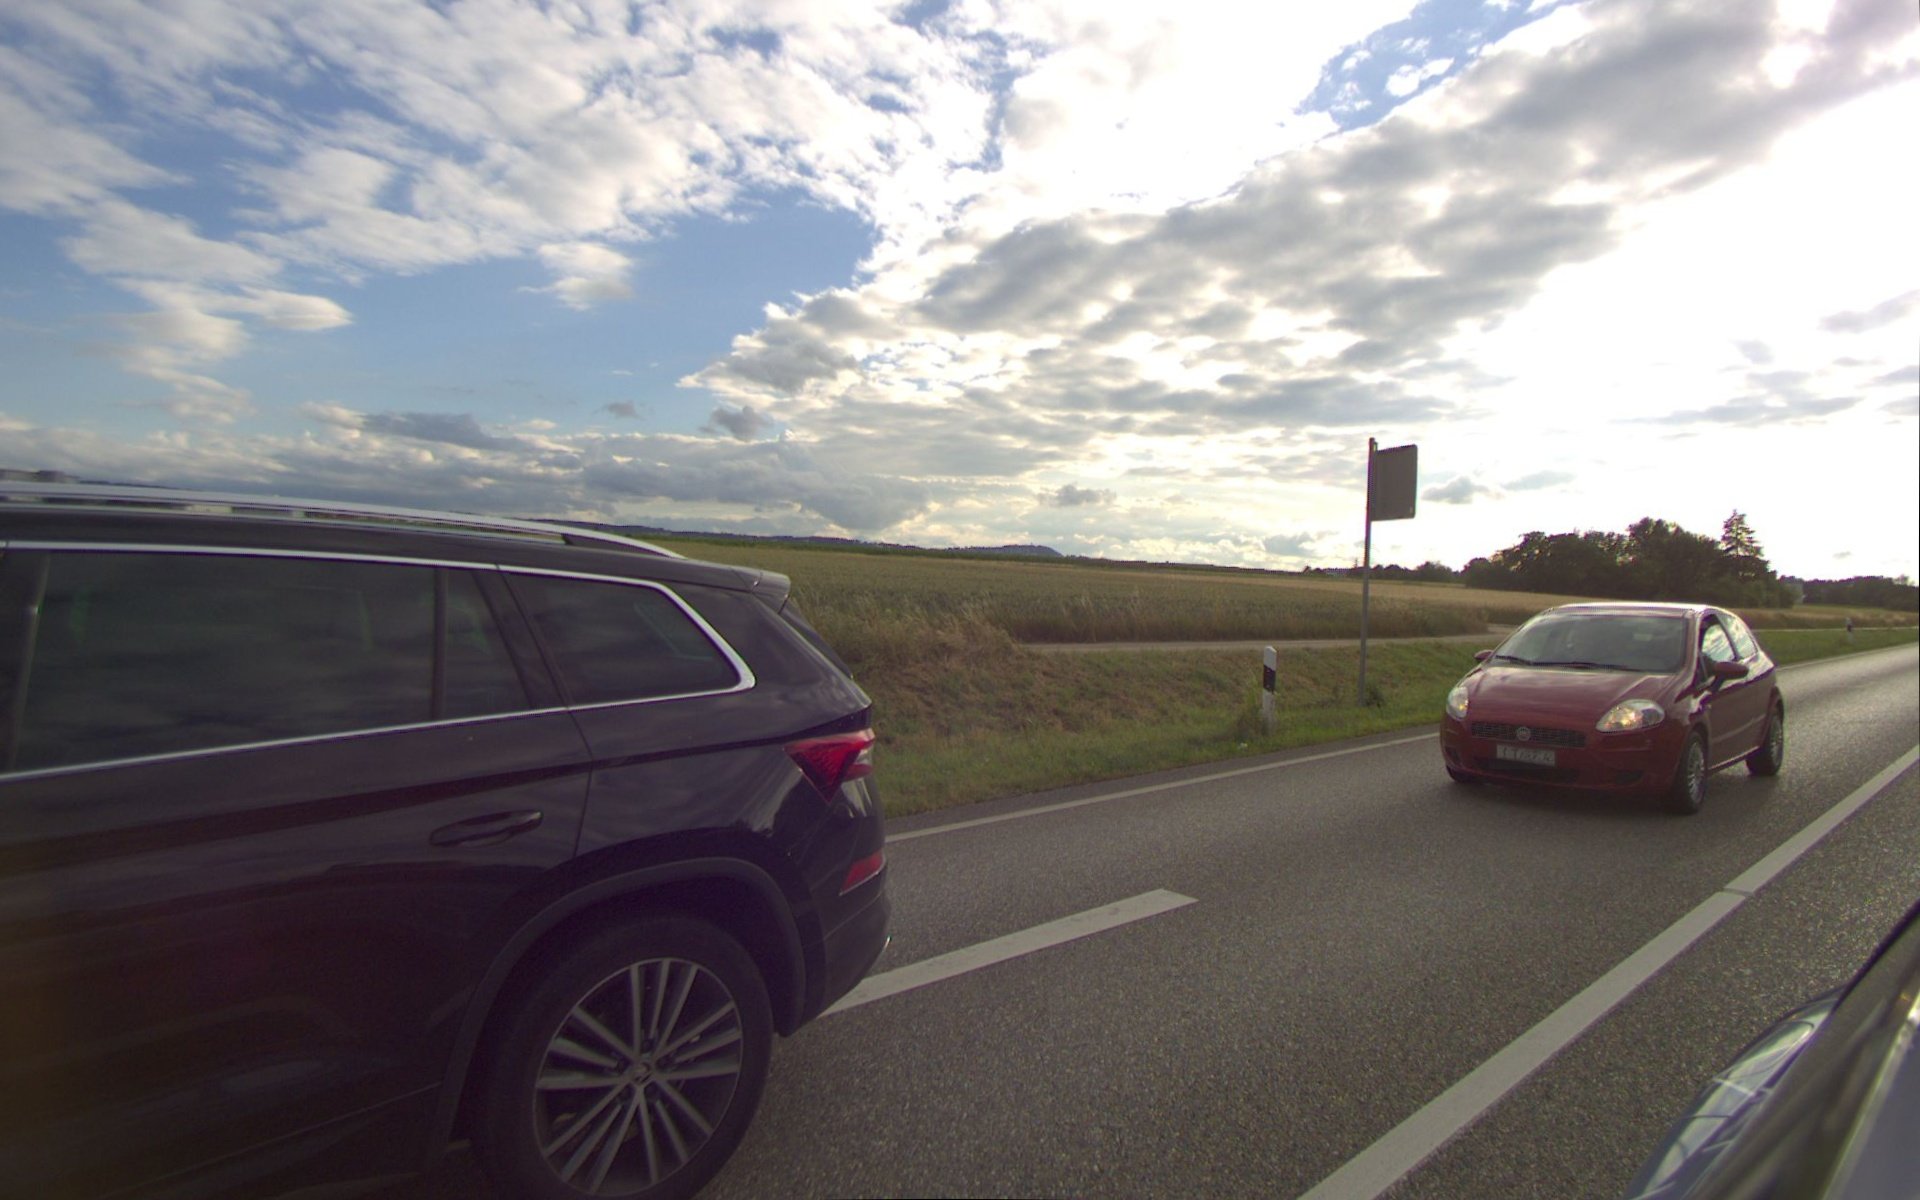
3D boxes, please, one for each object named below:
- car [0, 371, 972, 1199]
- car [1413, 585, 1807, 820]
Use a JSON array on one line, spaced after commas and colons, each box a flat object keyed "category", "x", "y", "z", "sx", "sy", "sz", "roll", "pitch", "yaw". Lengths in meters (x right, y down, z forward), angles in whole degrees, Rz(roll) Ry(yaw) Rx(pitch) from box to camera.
[{"category": "car", "x": -2.253, "y": 0.512, "z": 2.120, "sx": 4.477, "sy": 1.730, "sz": 1.839, "roll": -1, "pitch": 0, "yaw": -41}, {"category": "car", "x": 5.443, "y": 0.627, "z": 8.291, "sx": 3.840, "sy": 1.475, "sz": 1.710, "roll": -1, "pitch": 0, "yaw": -41}]
